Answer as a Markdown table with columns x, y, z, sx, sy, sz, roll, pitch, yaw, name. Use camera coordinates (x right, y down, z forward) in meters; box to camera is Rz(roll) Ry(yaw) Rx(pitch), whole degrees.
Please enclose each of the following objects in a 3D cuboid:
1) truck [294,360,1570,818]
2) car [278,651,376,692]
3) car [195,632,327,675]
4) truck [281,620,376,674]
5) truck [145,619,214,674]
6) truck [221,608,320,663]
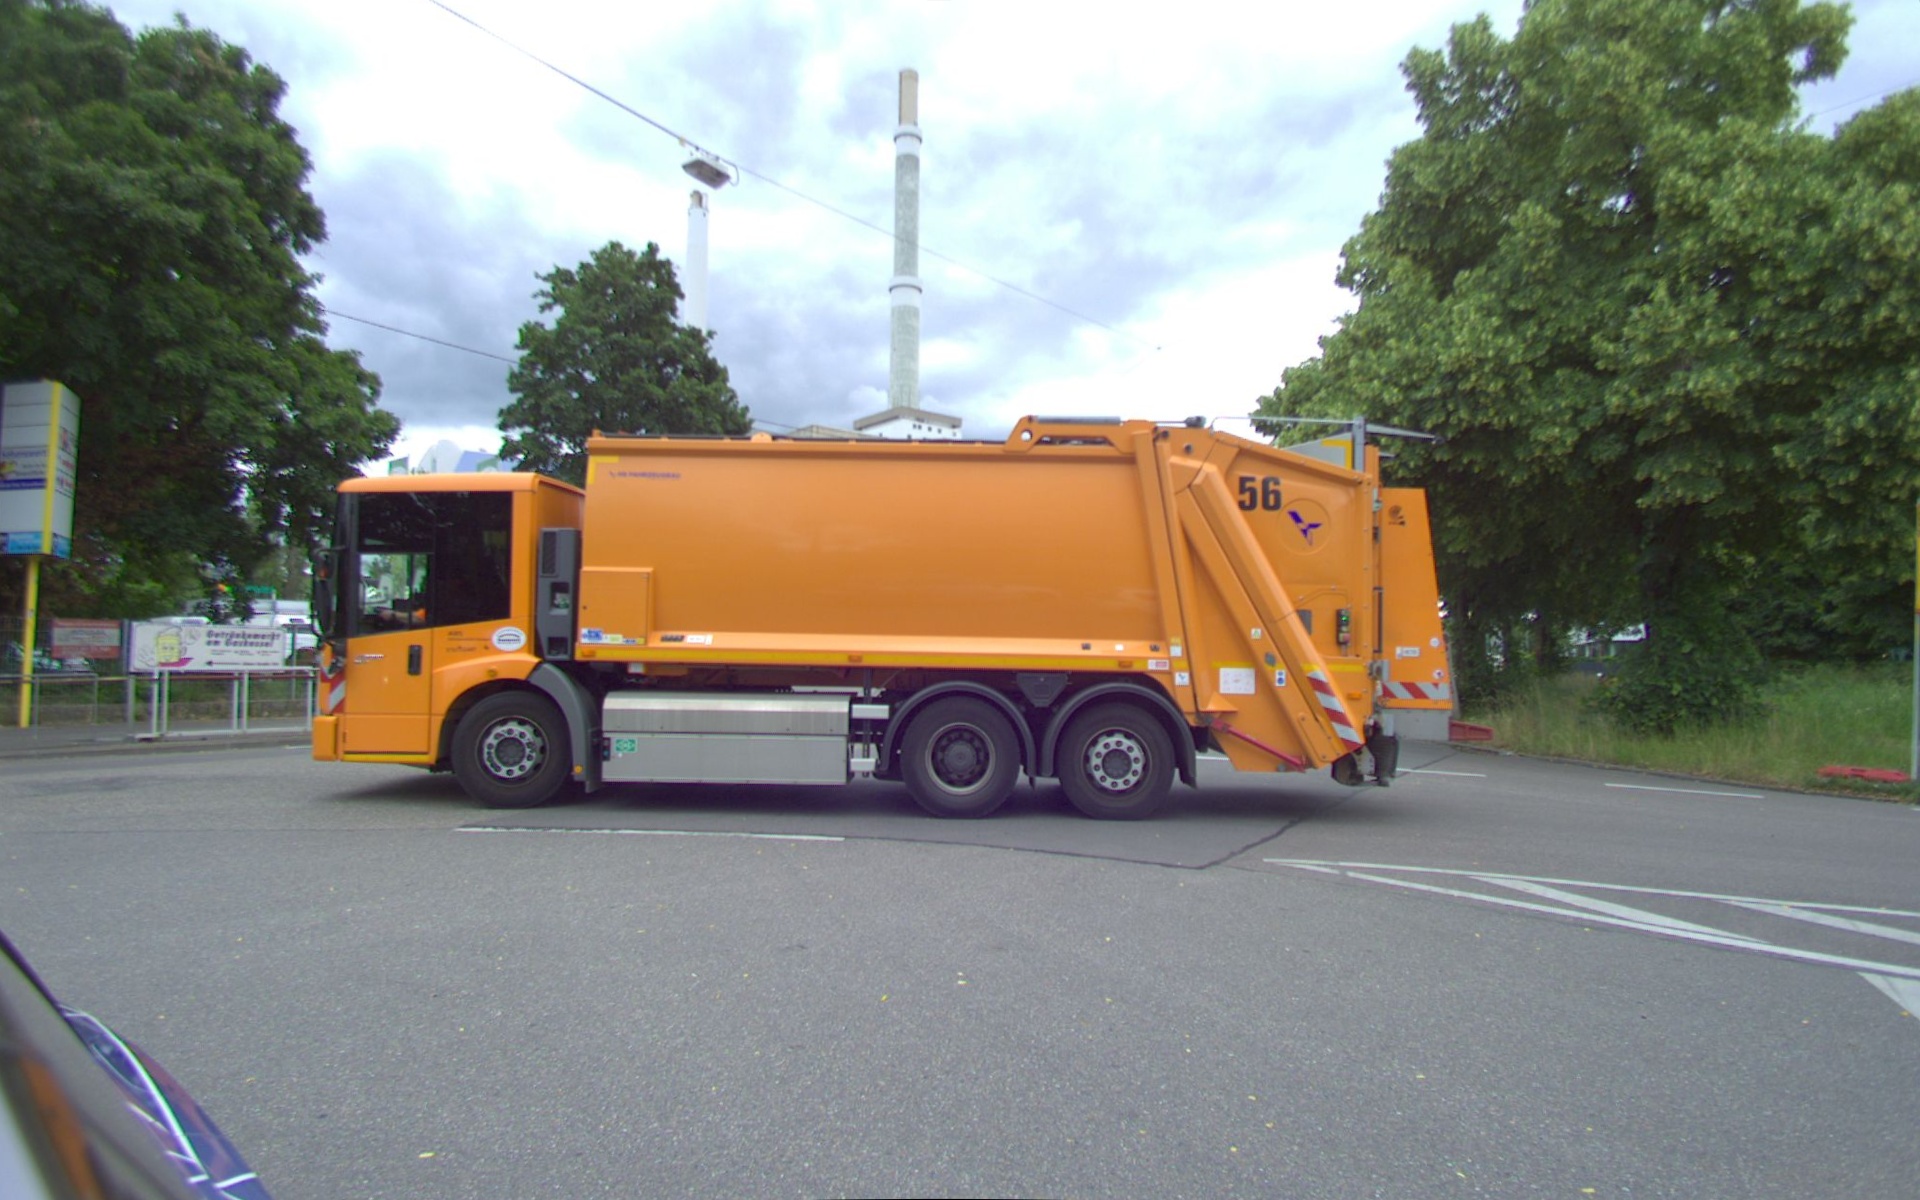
| x | y | z | sx | sy | sz | roll | pitch | yaw | name |
| --- | --- | --- | --- | --- | --- | --- | --- | --- | --- |
| -0.355 | 0.012 | 9.619 | 10.282 | 3.554 | 2.795 | -1 | -3 | 3 | truck |
| -20.685 | 2.318 | 33.033 | 3.700 | 1.258 | 1.686 | -3 | -5 | 41 | car |
| -47.655 | 3.709 | 69.184 | 2.244 | 2.754 | 7.050 | -3 | -6 | 44 | car |
| -51.694 | 3.908 | 82.473 | 15.856 | 4.056 | 2.831 | -3 | -6 | 45 | truck |
| -63.489 | 3.830 | 82.265 | 9.191 | 4.198 | 2.956 | -3 | -5 | 44 | truck |
| -54.194 | 2.930 | 79.284 | 15.727 | 3.964 | 2.811 | -3 | -5 | 43 | truck |
